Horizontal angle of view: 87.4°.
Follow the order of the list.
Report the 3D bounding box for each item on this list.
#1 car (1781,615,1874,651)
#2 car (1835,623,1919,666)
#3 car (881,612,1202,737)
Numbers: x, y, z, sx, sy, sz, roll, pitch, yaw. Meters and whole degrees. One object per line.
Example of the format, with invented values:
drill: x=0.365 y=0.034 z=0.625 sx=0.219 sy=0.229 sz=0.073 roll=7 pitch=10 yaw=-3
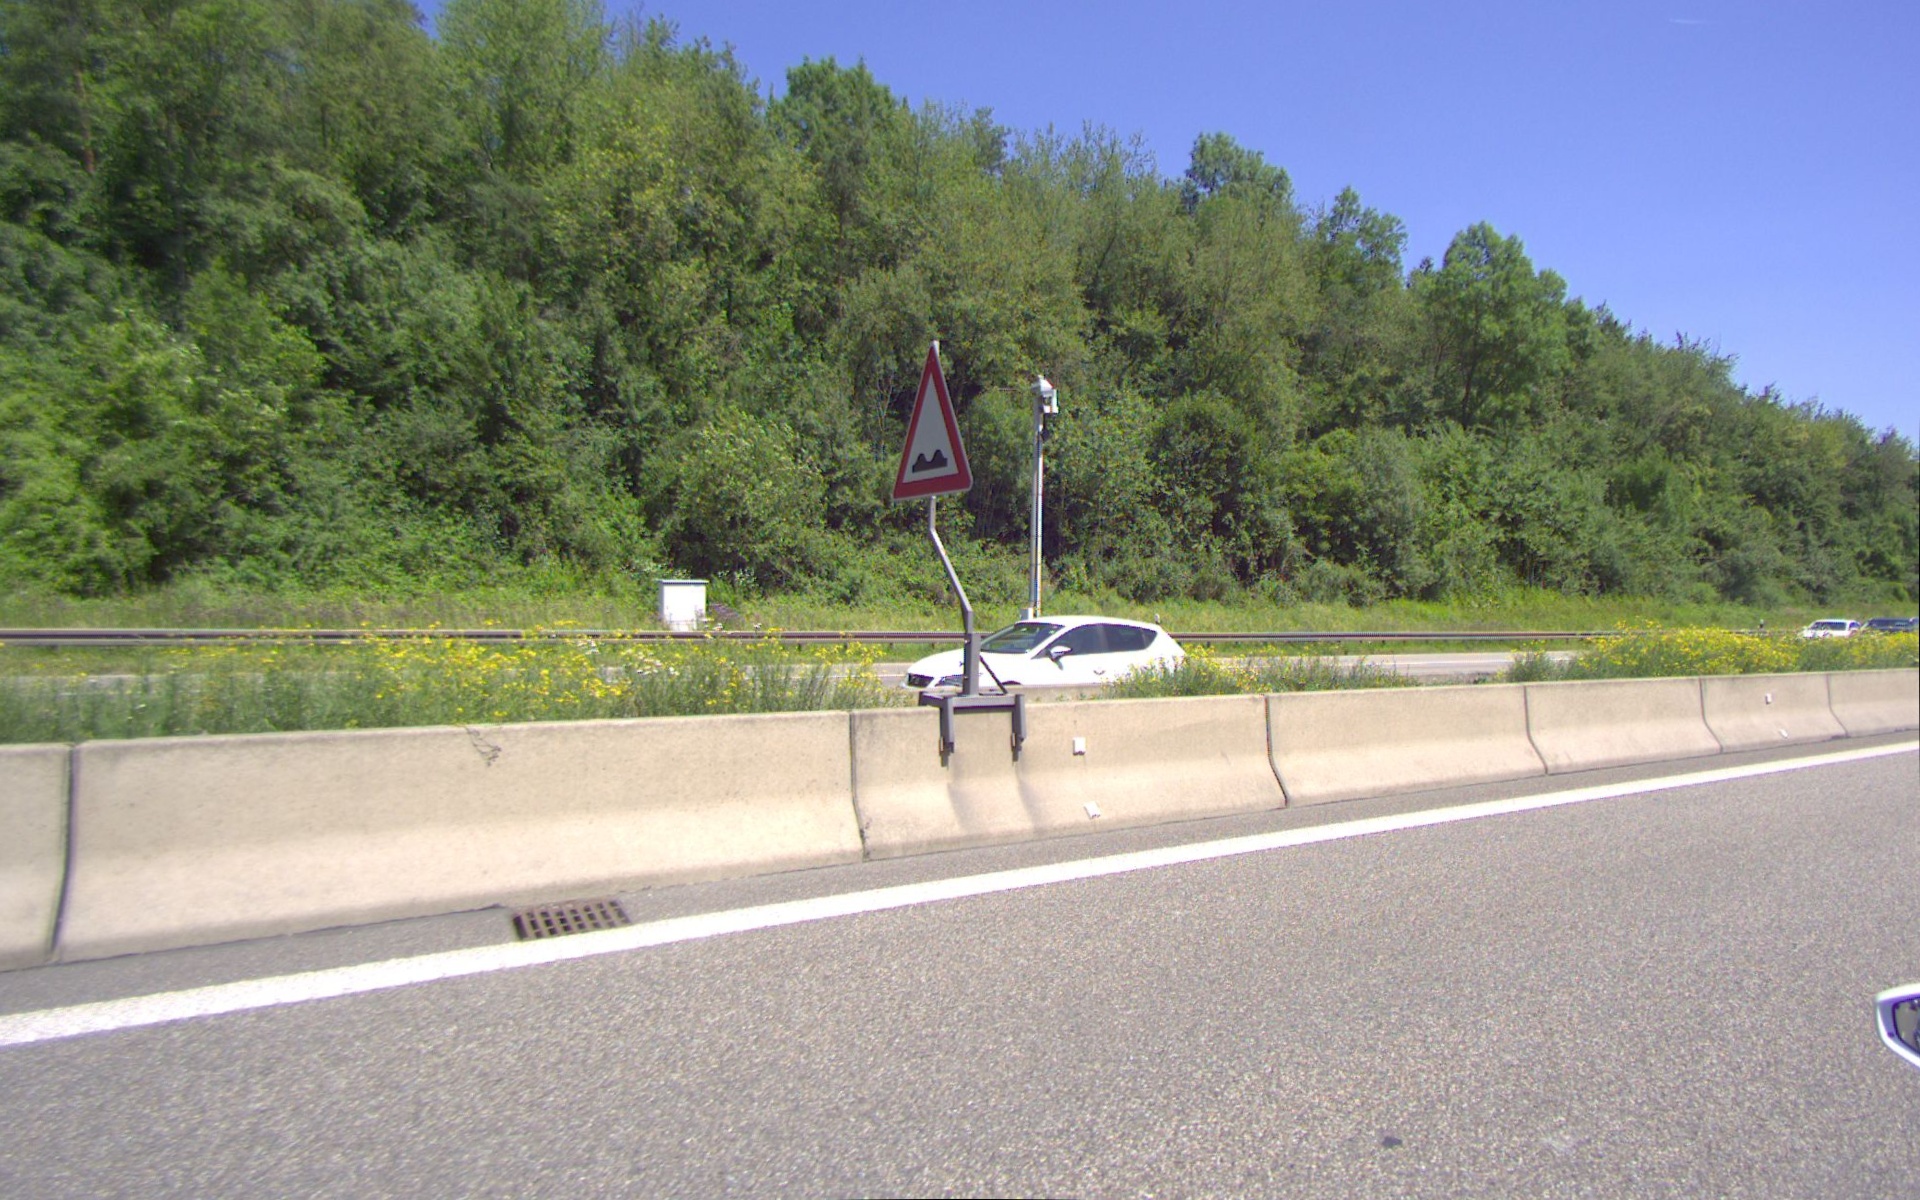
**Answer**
car: x=38.734 y=1.481 z=44.841 sx=4.125 sy=1.461 sz=1.983 roll=2 pitch=-1 yaw=-32
car: x=34.715 y=1.659 z=37.483 sx=3.954 sy=1.506 sz=1.984 roll=2 pitch=-1 yaw=-31
car: x=1.142 y=0.906 z=13.277 sx=4.093 sy=1.405 sz=1.614 roll=1 pitch=0 yaw=-32
